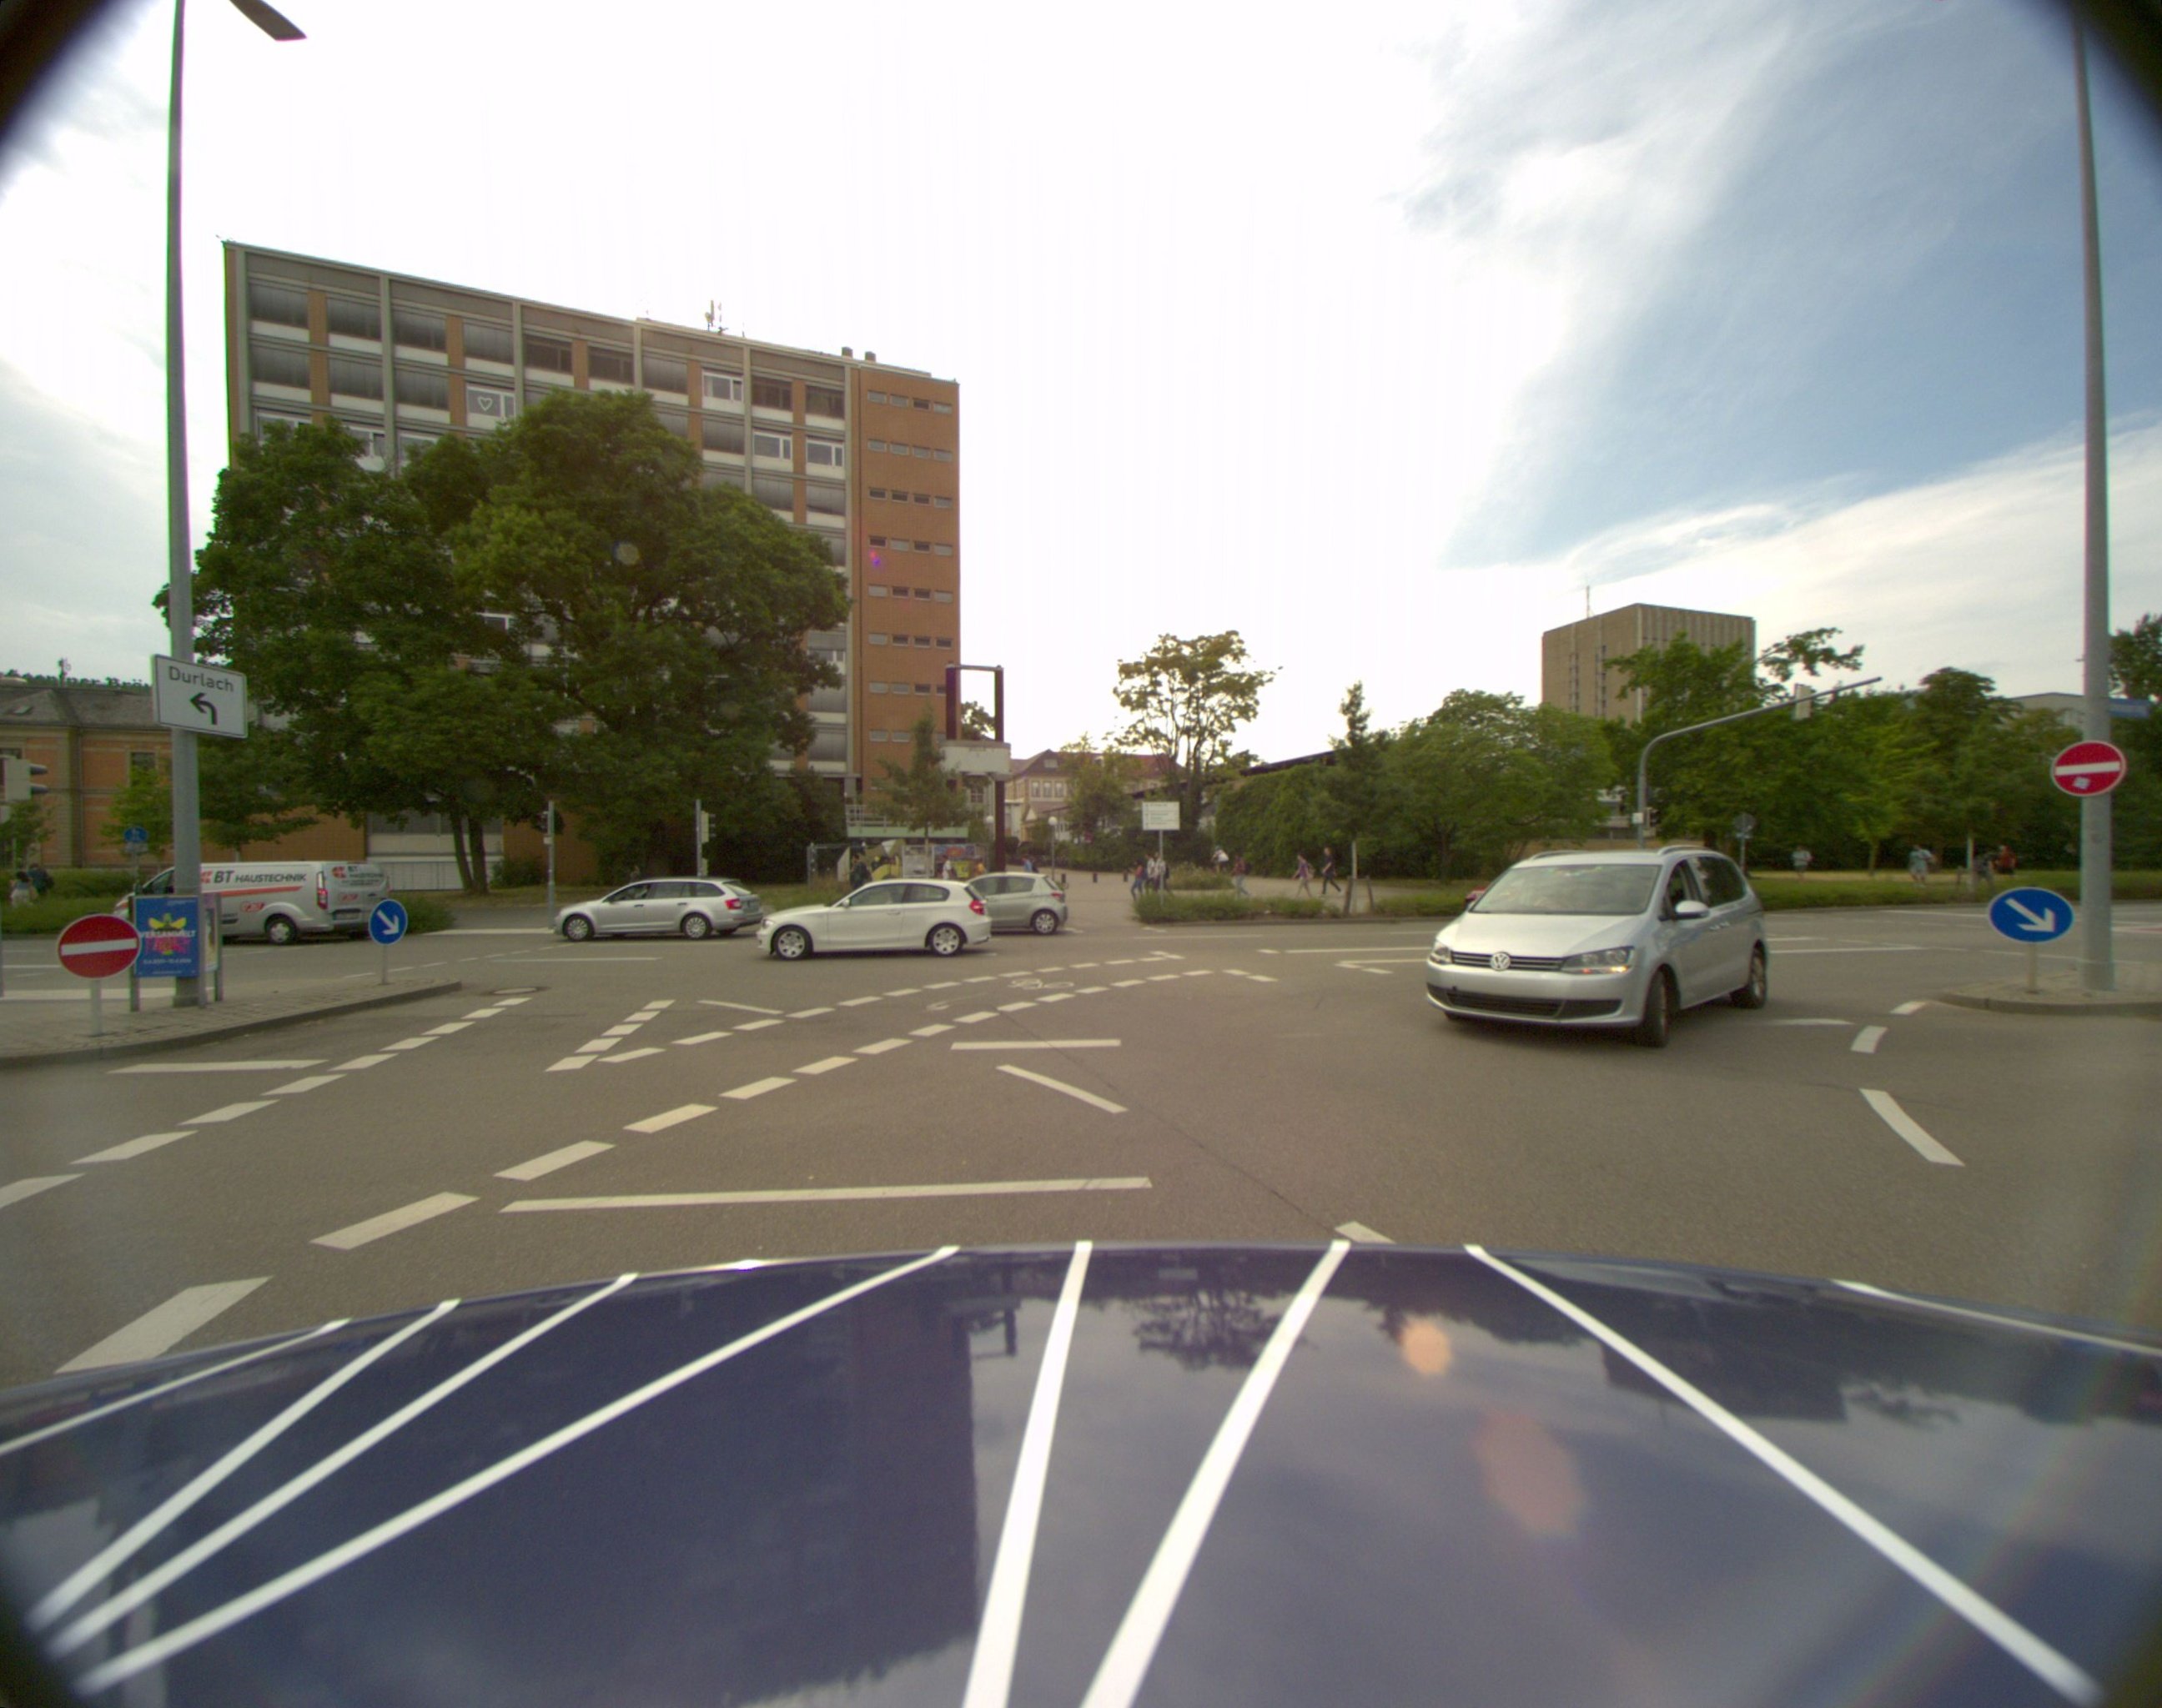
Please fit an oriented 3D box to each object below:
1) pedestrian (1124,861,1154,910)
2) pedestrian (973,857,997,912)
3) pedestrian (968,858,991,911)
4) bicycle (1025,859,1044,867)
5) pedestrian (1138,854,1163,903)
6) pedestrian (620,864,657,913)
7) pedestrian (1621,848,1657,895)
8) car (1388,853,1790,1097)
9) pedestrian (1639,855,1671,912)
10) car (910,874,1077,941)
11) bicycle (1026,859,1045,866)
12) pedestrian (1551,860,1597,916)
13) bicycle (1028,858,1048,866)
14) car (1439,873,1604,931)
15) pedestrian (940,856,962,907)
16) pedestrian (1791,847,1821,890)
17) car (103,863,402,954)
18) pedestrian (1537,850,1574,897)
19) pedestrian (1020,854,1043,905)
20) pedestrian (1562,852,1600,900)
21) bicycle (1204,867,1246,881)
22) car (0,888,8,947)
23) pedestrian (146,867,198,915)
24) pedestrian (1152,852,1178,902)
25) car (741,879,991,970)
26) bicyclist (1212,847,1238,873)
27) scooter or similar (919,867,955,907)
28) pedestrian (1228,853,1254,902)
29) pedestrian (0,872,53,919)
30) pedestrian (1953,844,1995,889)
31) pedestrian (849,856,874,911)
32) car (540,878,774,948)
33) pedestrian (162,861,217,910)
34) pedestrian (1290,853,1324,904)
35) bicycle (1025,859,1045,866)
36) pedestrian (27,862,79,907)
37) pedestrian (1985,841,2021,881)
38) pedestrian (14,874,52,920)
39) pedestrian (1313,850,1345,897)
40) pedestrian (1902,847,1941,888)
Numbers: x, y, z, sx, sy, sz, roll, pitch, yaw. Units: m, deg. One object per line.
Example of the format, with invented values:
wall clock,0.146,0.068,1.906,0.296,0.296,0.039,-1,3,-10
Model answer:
pedestrian,1.941,1.038,25.369,0.800,1.534,0.838,-1,3,-11
pedestrian,-3.077,0.958,24.291,0.708,1.701,0.639,-1,2,-11
pedestrian,-3.350,0.998,25.025,0.708,1.700,0.639,-1,-1,-11
bicycle,-4.612,0.891,75.578,1.844,0.689,0.652,-1,-1,-6
pedestrian,2.483,0.861,27.055,0.708,1.700,0.639,-1,-1,-11
pedestrian,-14.847,1.154,25.509,0.812,1.565,0.779,-1,2,-11
pedestrian,20.996,0.658,28.599,0.800,1.700,0.714,-1,-1,-17
car,5.183,0.894,7.519,4.537,1.724,1.821,0,-1,-36
pedestrian,17.608,0.903,23.308,0.588,1.700,0.481,-1,-1,-9
car,-2.058,1.271,18.622,3.873,1.480,1.672,-1,-1,-1
bicycle,-4.316,0.799,72.039,1.844,0.689,0.652,-1,-1,-6
pedestrian,15.334,1.044,23.627,0.839,1.700,0.799,-1,-1,-9
bicycle,-3.978,0.756,70.607,1.844,0.689,0.652,-1,-1,-6
car,11.695,1.244,20.290,3.456,1.406,1.671,-1,-1,-6
pedestrian,-4.437,0.939,25.939,0.708,1.701,0.639,-1,1,-11
pedestrian,28.968,0.578,30.355,0.695,1.687,0.543,-1,3,-17
car,-19.746,1.269,18.261,5.201,1.947,1.826,-1,-1,1
pedestrian,17.676,0.728,28.327,0.801,1.700,0.838,-1,-1,-29
pedestrian,-1.717,0.861,26.228,0.708,1.702,0.639,-1,3,-11
pedestrian,18.095,0.789,27.500,0.801,1.700,0.838,-1,-1,-29
bicycle,7.229,0.998,38.206,1.845,0.689,0.843,-1,-1,-10
car,-29.917,1.664,18.966,3.997,1.523,1.865,-1,-1,5
pedestrian,-30.915,1.258,25.850,0.811,1.565,0.781,0,2,12
pedestrian,2.918,0.803,26.346,0.708,1.700,0.639,-1,-1,-11
car,-3.818,1.247,14.136,4.223,1.449,1.760,-1,-1,-8
bicyclist,7.231,0.318,38.209,1.013,1.269,0.839,-1,-1,-8
scooter or similar,-5.074,1.161,26.803,1.149,1.362,0.398,-1,-1,-24
pedestrian,5.660,0.828,26.878,0.633,1.700,0.673,-1,-1,-11
pedestrian,-36.423,1.417,26.244,0.811,1.565,0.781,0,2,12
pedestrian,34.261,0.491,29.157,0.693,1.700,0.734,-1,-1,-11
pedestrian,-7.472,0.996,25.895,0.708,1.842,0.639,-1,1,-11
car,-9.995,1.369,18.168,4.525,1.465,1.825,-1,-1,-1
pedestrian,-29.114,1.022,24.822,0.811,1.565,0.780,0,2,8
pedestrian,7.721,0.847,25.997,0.800,1.700,0.839,-1,-1,-11
bicycle,-4.483,0.843,73.728,1.844,0.689,0.652,-1,-1,-6
pedestrian,-37.310,1.103,27.582,0.811,1.565,0.781,0,2,12
pedestrian,39.676,0.319,32.713,0.695,1.700,0.714,-1,-1,-14
pedestrian,-36.383,1.472,26.388,0.551,1.528,0.548,-2,3,-34
pedestrian,9.165,0.710,28.124,0.800,1.700,0.839,-1,-1,-11
pedestrian,35.274,0.561,31.903,0.695,1.700,0.841,-1,-1,-17
